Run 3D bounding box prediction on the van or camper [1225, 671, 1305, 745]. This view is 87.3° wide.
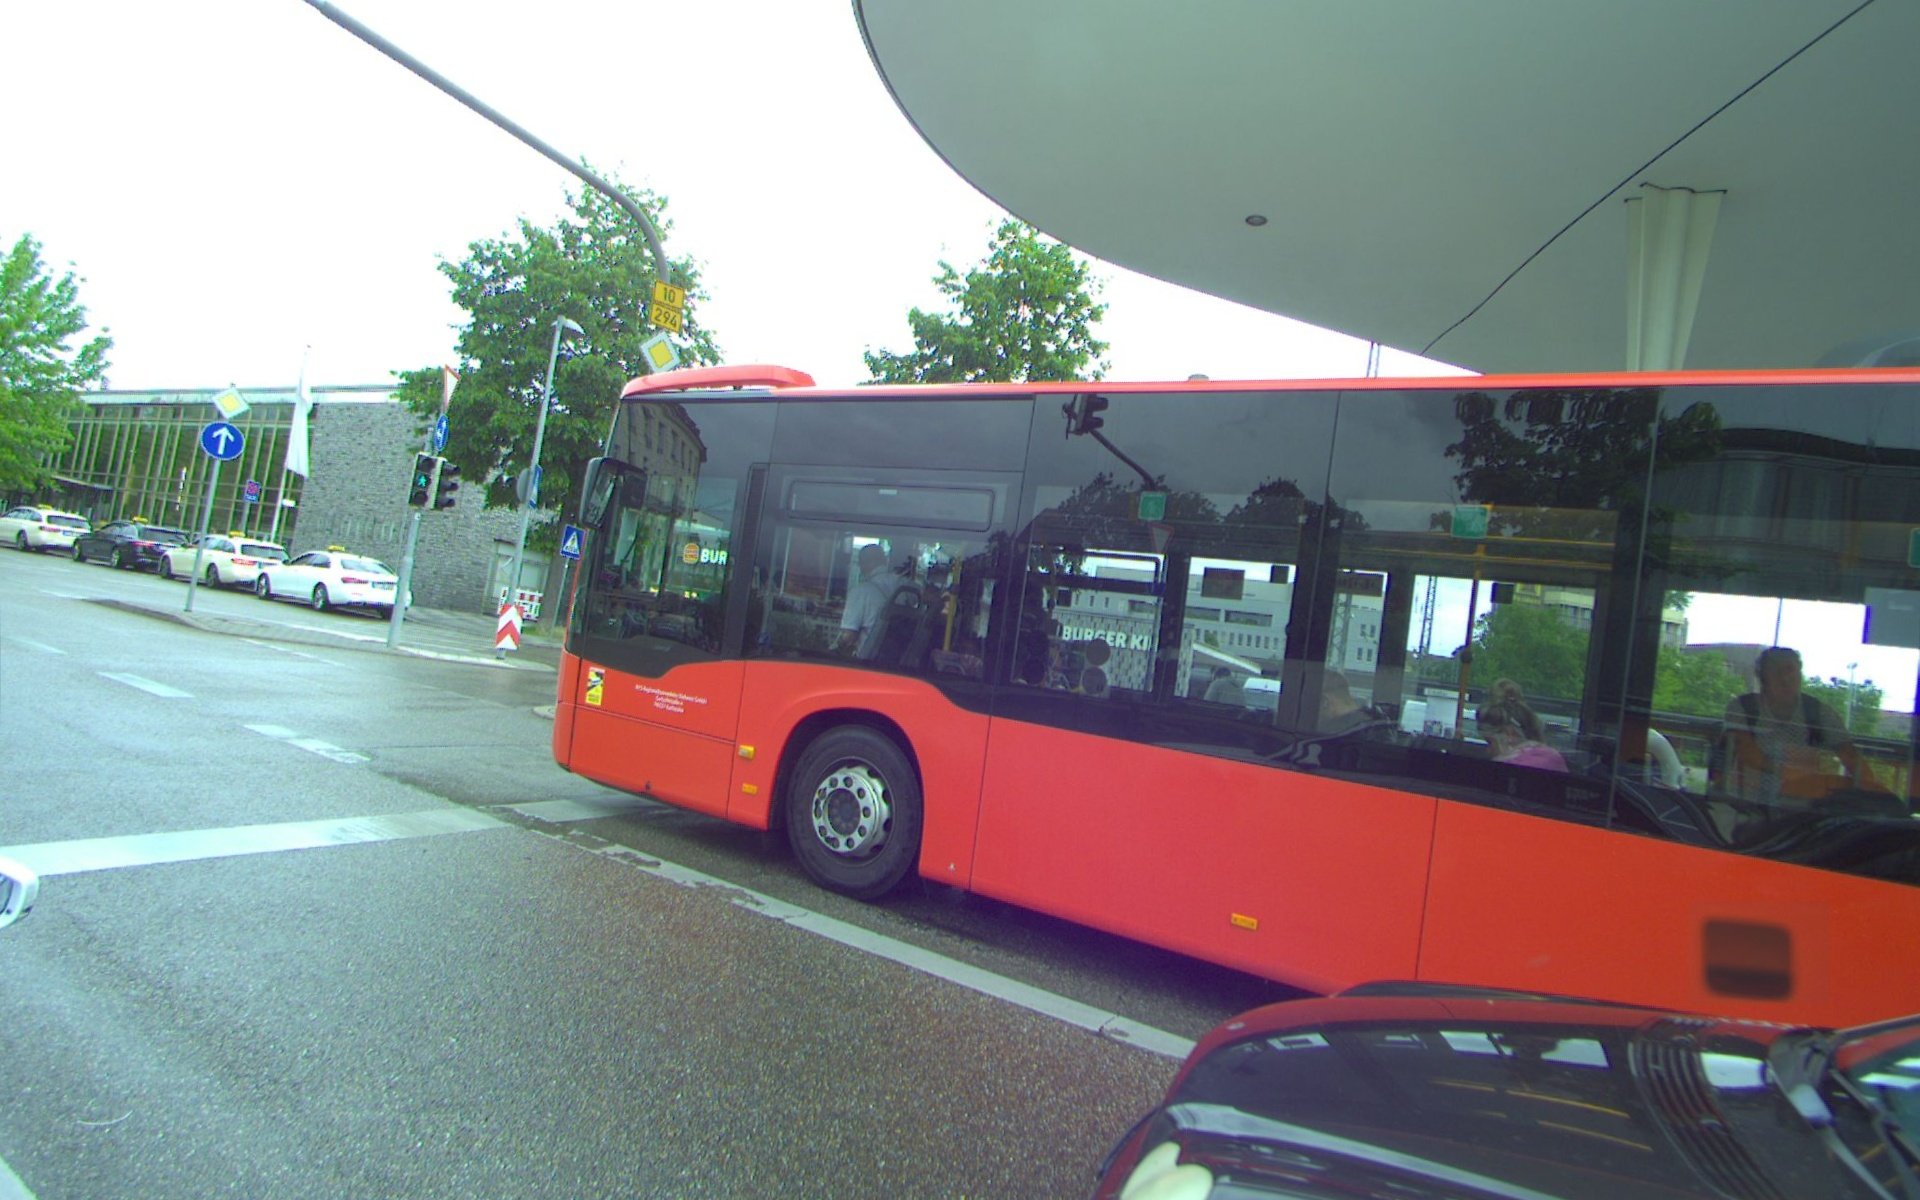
[{"bbox_3d":[12.533,4.406,41.016,2.072,2.491,5.975,7,-3,25],"label":"van or camper"}]

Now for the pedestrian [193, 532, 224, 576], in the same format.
[{"bbox_3d":[-30.445,-1.862,40.735,0.703,1.665,0.565,7,-1,27],"label":"pedestrian"}]

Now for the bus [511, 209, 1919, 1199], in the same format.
[{"bbox_3d":[2.144,0.318,5.270,10.026,3.210,2.749,7,-2,32],"label":"bus"}]

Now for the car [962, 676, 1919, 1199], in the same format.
[{"bbox_3d":[2.290,1.173,1.150,4.363,1.495,1.750,6,-5,33],"label":"car"}]

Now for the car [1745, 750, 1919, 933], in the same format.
[{"bbox_3d":[11.227,2.801,10.567,4.360,1.666,1.806,7,-4,32],"label":"car"}]

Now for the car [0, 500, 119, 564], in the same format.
[{"bbox_3d":[-31.438,-2.382,34.535,4.736,1.618,2.000,7,-2,25],"label":"car"}]

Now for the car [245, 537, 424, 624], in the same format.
[{"bbox_3d":[-15.858,-0.511,25.457,4.538,1.608,1.779,7,-2,30],"label":"car"}]

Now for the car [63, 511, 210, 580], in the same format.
[{"bbox_3d":[-25.843,-1.705,31.525,4.661,1.542,1.918,7,-2,30],"label":"car"}]

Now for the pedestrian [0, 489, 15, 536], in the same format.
[{"bbox_3d":[-52.598,-4.831,55.076,0.848,2.439,0.844,7,-1,34],"label":"pedestrian"}]

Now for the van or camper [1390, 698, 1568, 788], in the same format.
[{"bbox_3d":[20.332,5.543,39.547,5.873,2.491,2.108,7,-2,32],"label":"van or camper"}]

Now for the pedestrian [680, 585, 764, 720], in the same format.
[{"bbox_3d":[-3.227,0.712,13.712,0.796,1.693,0.712,8,-1,-3],"label":"pedestrian"}]

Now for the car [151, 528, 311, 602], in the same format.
[{"bbox_3d":[-20.583,-1.003,28.352,4.588,1.468,1.851,7,-2,30],"label":"car"}]

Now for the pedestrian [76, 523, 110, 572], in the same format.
[{"bbox_3d":[-32.964,-2.000,38.242,0.703,1.729,0.565,7,-1,27],"label":"pedestrian"}]
